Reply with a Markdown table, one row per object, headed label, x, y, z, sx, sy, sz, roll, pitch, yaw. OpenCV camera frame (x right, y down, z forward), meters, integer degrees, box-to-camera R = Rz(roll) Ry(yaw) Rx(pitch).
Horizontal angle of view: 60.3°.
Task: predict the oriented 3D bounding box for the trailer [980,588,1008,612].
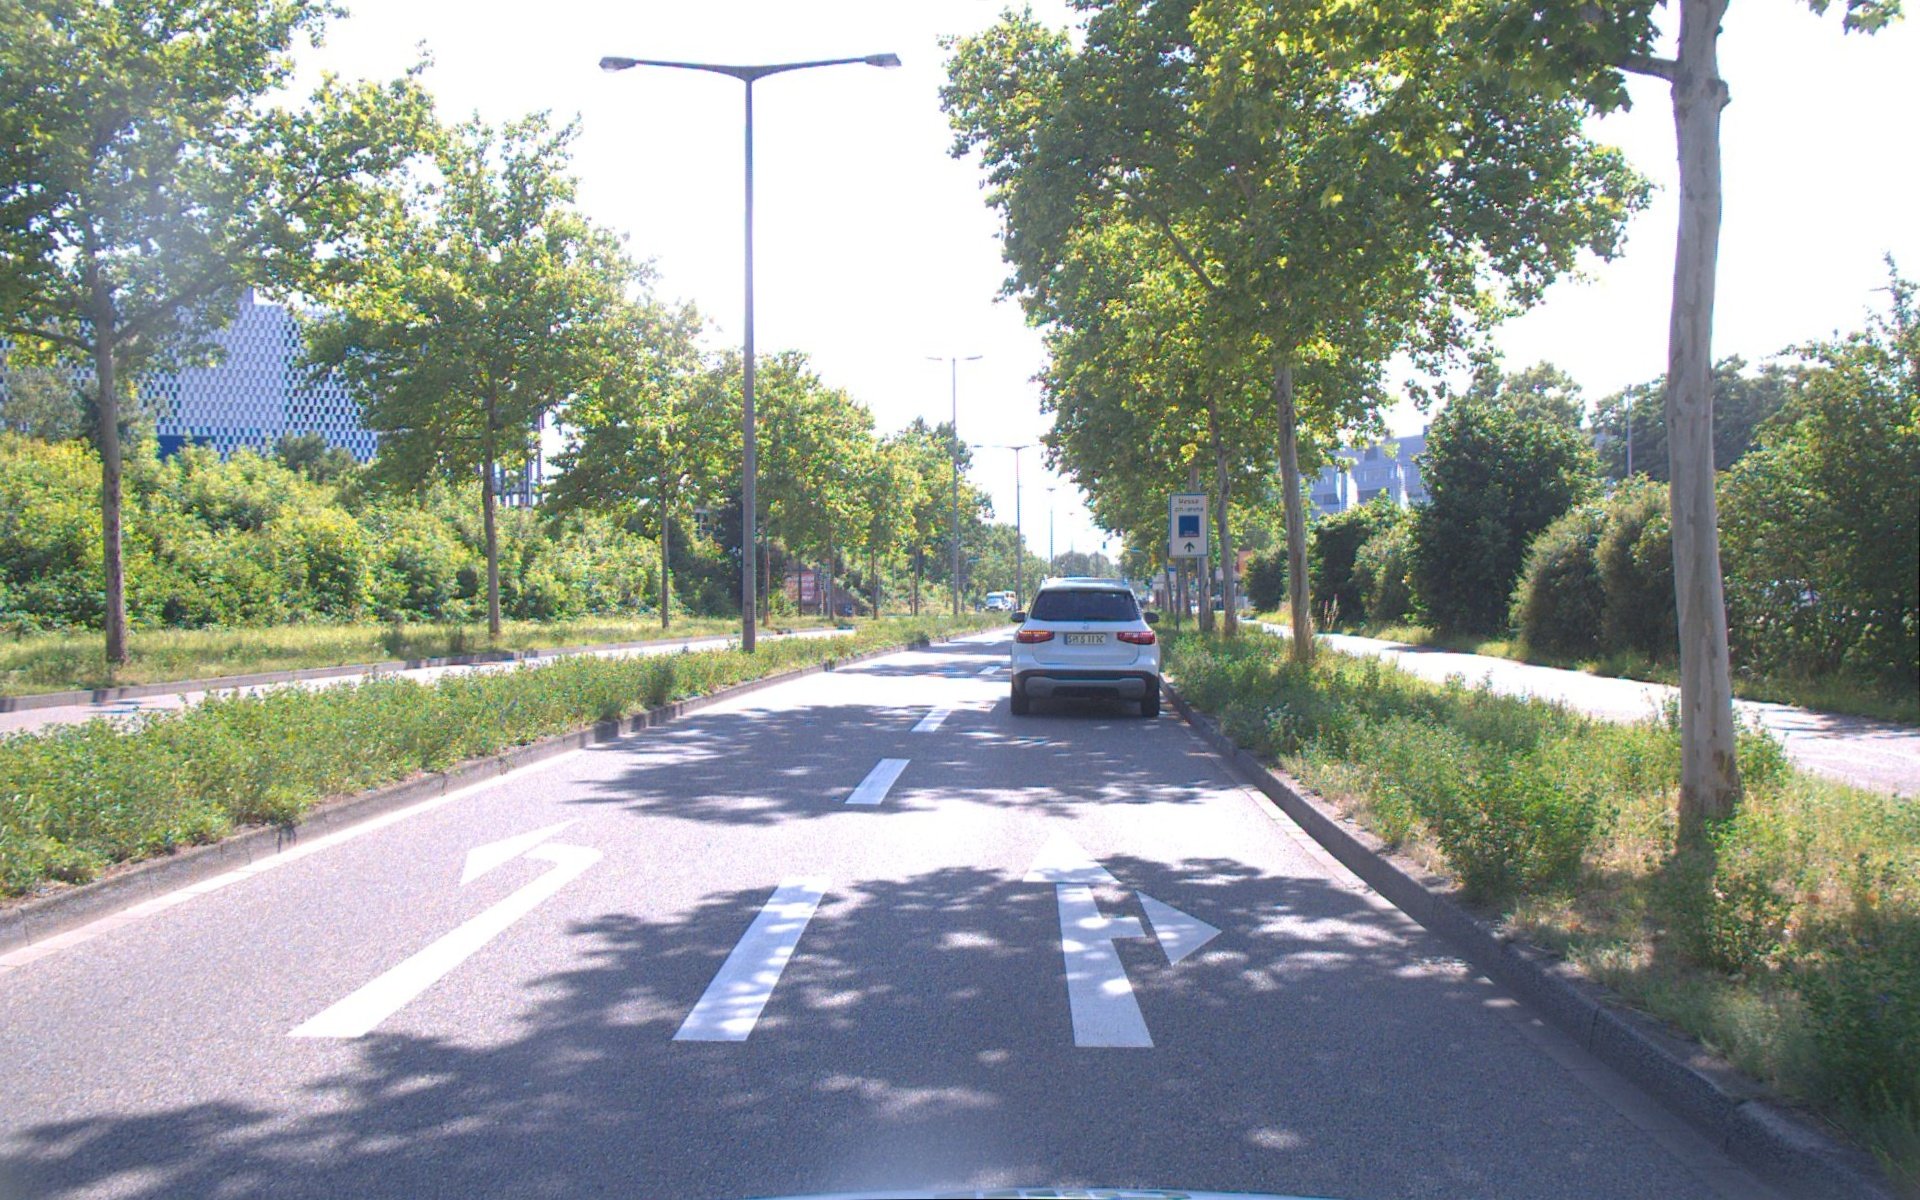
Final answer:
| label | x | y | z | sx | sy | sz | roll | pitch | yaw |
| --- | --- | --- | --- | --- | --- | --- | --- | --- | --- |
| trailer | 3.434 | 0.018 | 166.595 | 2.260 | 2.305 | 5.542 | 0 | -1 | 7 |

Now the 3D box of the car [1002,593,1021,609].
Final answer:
| label | x | y | z | sx | sy | sz | roll | pitch | yaw |
| --- | --- | --- | --- | --- | --- | --- | --- | --- | --- |
| car | 5.971 | 0.102 | 190.619 | 1.727 | 1.821 | 5.379 | 1 | 0 | 7 |

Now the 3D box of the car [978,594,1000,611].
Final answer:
| label | x | y | z | sx | sy | sz | roll | pitch | yaw |
| --- | --- | --- | --- | --- | --- | --- | --- | --- | --- |
| car | 2.837 | 0.275 | 161.663 | 1.679 | 1.650 | 4.364 | 0 | -1 | 7 |

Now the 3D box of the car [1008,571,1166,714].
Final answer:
| label | x | y | z | sx | sy | sz | roll | pitch | yaw |
| --- | --- | --- | --- | --- | --- | --- | --- | --- | --- |
| car | 1.561 | 0.505 | 21.138 | 1.815 | 1.635 | 4.001 | 0 | 0 | 3 |

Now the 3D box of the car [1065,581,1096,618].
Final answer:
| label | x | y | z | sx | sy | sz | roll | pitch | yaw |
| --- | --- | --- | --- | --- | --- | --- | --- | --- | --- |
| car | 9.077 | 0.005 | 124.320 | 2.037 | 2.703 | 4.877 | 1 | 0 | 7 |
